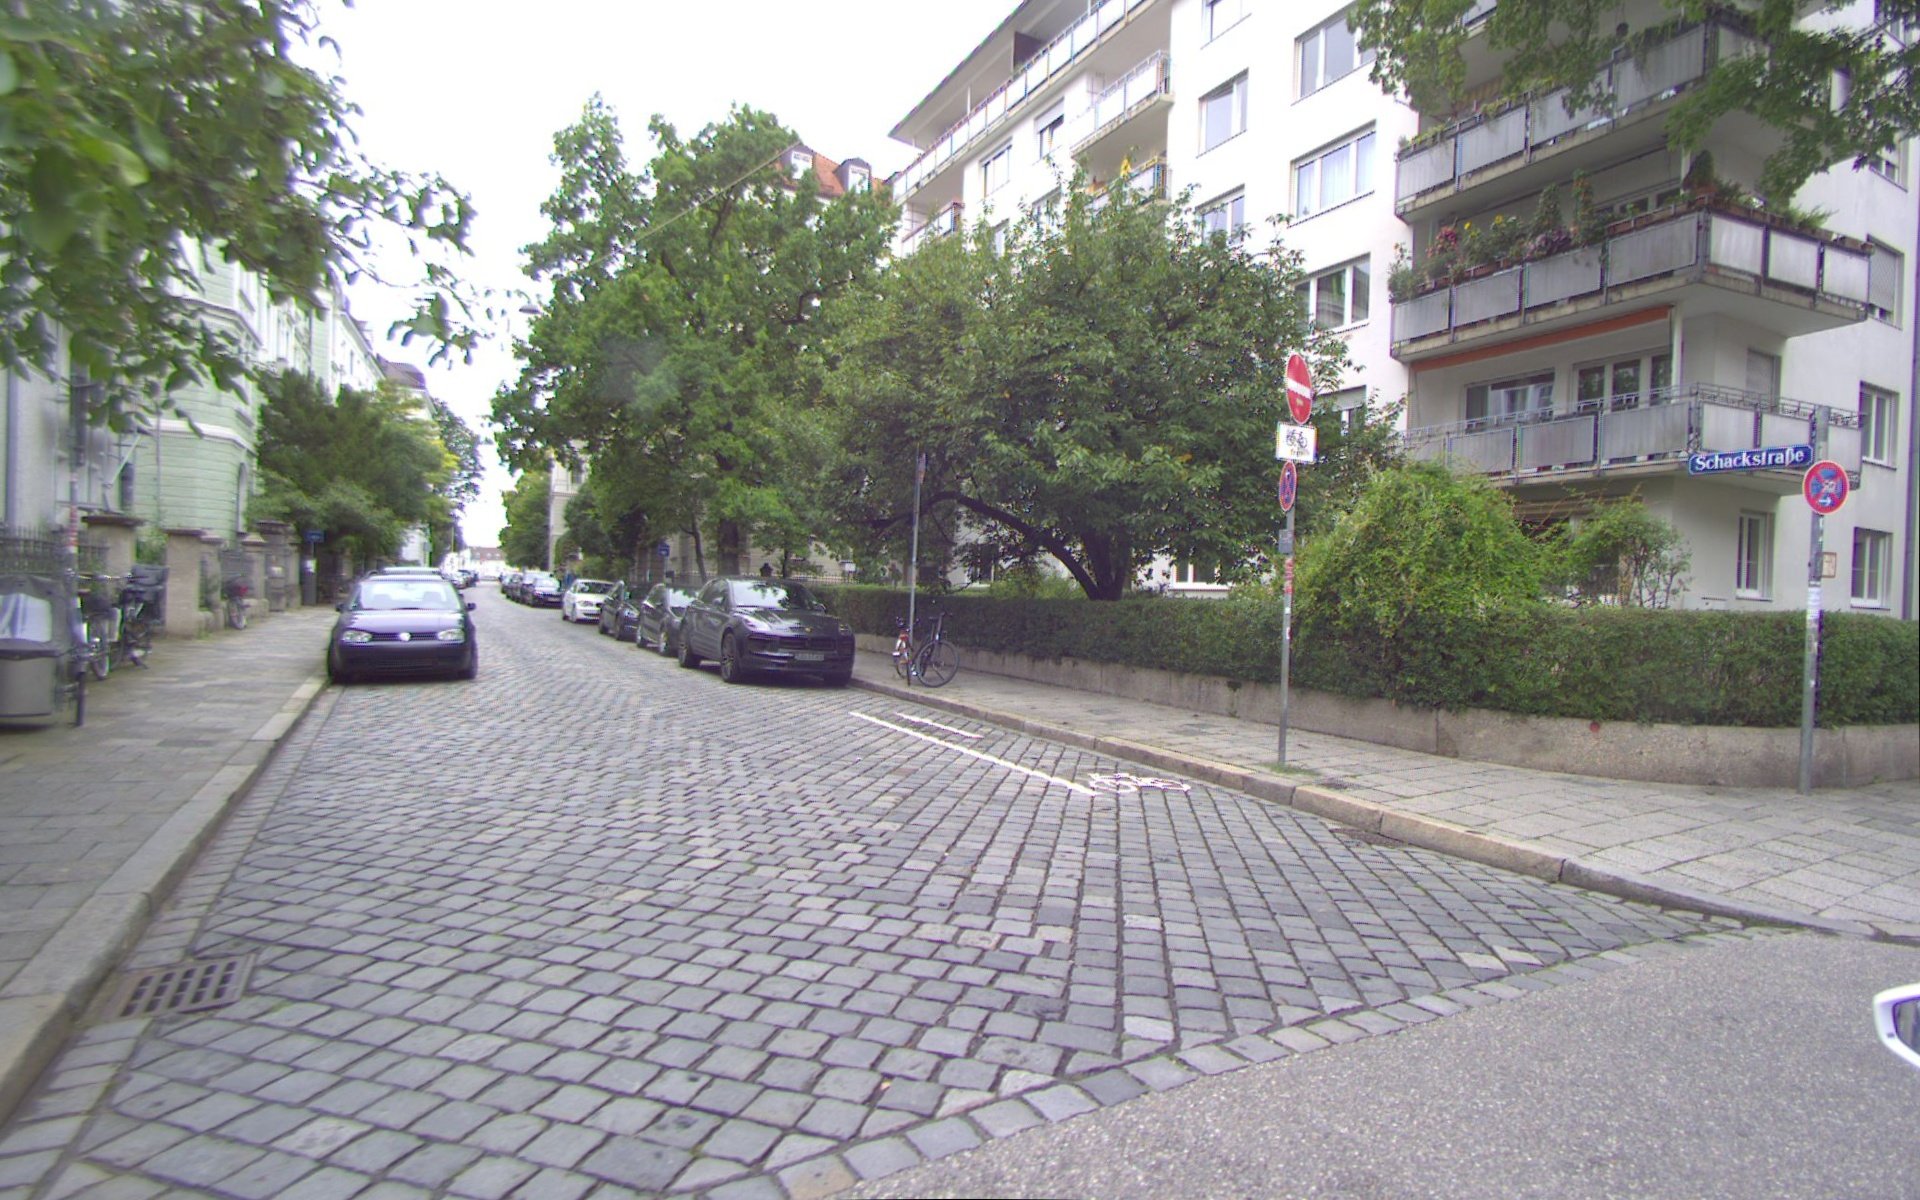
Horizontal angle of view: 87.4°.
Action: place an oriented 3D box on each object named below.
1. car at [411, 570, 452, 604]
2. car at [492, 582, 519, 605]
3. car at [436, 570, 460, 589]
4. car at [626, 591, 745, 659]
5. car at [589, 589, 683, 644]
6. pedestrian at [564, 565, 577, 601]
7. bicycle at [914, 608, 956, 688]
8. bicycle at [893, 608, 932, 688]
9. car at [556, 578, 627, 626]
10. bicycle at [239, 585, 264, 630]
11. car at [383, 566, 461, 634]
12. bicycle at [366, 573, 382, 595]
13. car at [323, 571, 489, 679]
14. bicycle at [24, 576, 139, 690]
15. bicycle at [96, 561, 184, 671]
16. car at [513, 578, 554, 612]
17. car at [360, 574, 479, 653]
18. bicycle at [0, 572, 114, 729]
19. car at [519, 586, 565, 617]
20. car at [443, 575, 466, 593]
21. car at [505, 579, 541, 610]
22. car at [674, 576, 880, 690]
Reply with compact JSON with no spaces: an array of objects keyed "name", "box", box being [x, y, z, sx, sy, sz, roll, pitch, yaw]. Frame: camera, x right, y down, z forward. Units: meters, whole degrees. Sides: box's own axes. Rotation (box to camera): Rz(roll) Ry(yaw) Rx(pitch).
[{"name":"car","box":[-24.281,-0.634,46.123,1.504,1.447,3.372,2,1,-30]},{"name":"car","box":[-33.561,-0.512,74.176,1.490,1.600,3.102,2,1,-30]},{"name":"car","box":[-41.958,-1.690,82.252,1.481,1.450,3.568,2,1,-31]},{"name":"car","box":[-5.772,0.480,20.873,1.467,1.181,3.461,3,0,-31]},{"name":"car","box":[-8.216,0.389,25.338,1.467,1.181,3.461,3,0,-31]},{"name":"pedestrian","box":[-22.044,-0.966,56.900,0.531,1.975,0.481,2,1,-36]},{"name":"bicycle","box":[-0.395,0.691,15.201,0.341,1.086,1.777,3,1,-9]},{"name":"bicycle","box":[-0.727,0.686,15.084,0.341,1.086,1.777,2,1,-9]},{"name":"car","box":[-12.046,0.031,32.733,1.467,1.394,3.461,3,0,-31]},{"name":"bicycle","box":[-15.290,0.150,21.672,0.402,0.885,1.707,2,1,-35]},{"name":"car","box":[-13.495,-0.027,25.204,1.569,1.542,3.631,2,1,-29]},{"name":"bicycle","box":[-32.955,-0.927,56.494,0.571,1.198,2.504,2,1,-27]},{"name":"car","box":[-8.049,0.285,14.685,1.823,1.344,4.081,2,1,-29]},{"name":"bicycle","box":[-9.354,0.325,10.754,0.406,1.119,1.843,2,0,-25]},{"name":"bicycle","box":[-10.316,0.189,12.684,0.406,1.290,1.843,2,0,-25]},{"name":"car","box":[-21.459,-0.256,50.476,1.490,1.600,3.102,2,1,-30]},{"name":"car","box":[-10.550,0.217,19.649,1.823,1.344,4.081,2,1,-29]},{"name":"bicycle","box":[-7.922,0.362,8.504,0.986,1.171,2.455,2,0,-44]},{"name":"car","box":[-19.319,0.058,46.373,1.504,1.264,3.372,2,1,-30]},{"name":"car","box":[-43.960,-1.433,87.358,1.481,1.450,3.568,2,1,-31]},{"name":"car","box":[-24.604,-0.334,56.516,1.490,1.600,3.102,2,1,-30]},{"name":"car","box":[-3.105,0.453,16.273,1.993,1.542,4.258,4,0,-29]}]
